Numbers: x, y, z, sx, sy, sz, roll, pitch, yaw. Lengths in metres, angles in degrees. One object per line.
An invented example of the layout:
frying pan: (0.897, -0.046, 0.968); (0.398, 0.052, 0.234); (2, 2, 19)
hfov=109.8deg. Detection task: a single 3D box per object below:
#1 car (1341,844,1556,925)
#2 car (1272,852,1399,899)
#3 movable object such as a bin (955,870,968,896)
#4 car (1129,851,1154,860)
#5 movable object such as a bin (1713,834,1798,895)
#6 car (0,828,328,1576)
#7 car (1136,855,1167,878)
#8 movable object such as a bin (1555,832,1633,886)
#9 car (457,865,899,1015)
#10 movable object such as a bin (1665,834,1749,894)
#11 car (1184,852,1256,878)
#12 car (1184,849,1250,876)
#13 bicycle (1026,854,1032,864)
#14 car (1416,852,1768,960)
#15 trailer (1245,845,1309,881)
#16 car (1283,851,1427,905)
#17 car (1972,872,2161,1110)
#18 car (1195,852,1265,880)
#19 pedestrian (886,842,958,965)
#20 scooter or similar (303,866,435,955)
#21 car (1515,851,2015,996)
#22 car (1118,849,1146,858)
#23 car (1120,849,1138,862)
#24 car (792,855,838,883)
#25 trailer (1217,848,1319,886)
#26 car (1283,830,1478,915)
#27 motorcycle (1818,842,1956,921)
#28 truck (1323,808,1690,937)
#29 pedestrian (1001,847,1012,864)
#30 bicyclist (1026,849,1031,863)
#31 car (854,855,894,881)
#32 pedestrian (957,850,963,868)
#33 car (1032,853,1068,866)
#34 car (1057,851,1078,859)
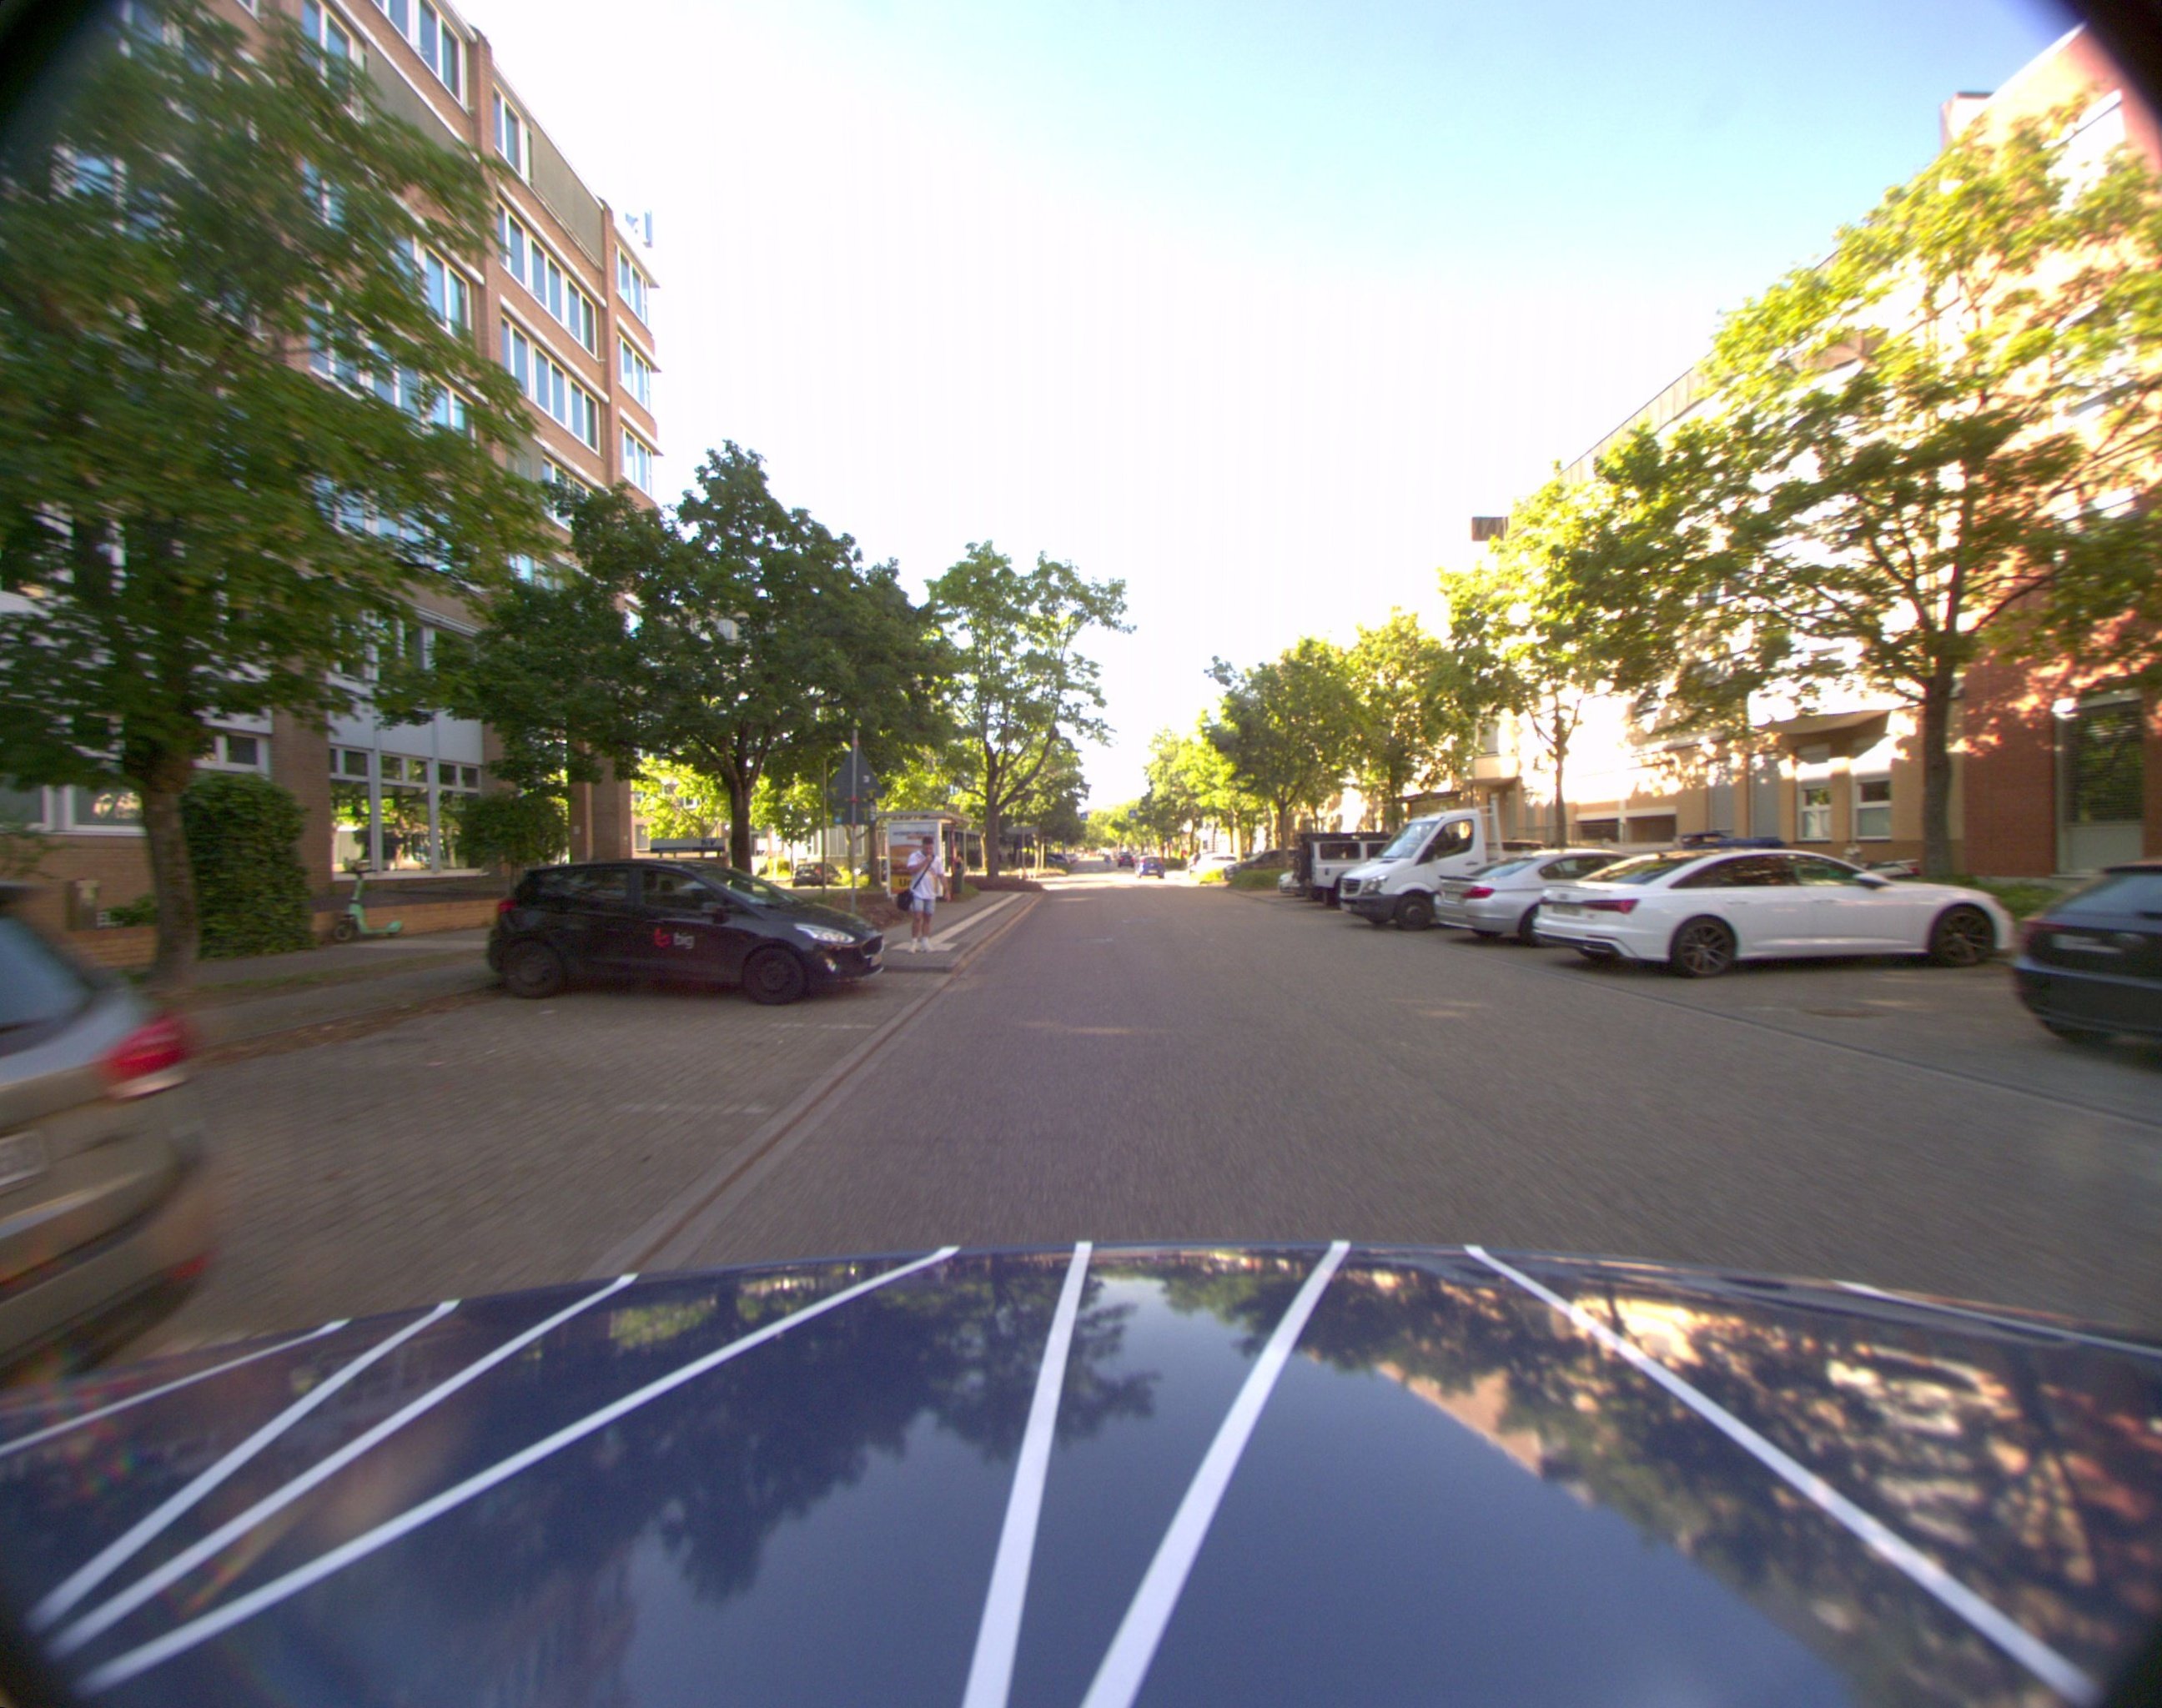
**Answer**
car: (8.625, 0.682, 18.113); (4.118, 1.652, 2.000); (-2, 1, -1)
car: (8.778, 0.718, 26.470); (3.843, 1.452, 1.733); (-2, 0, 4)
movable object such as a bin: (-3.637, 0.882, 23.118); (0.299, 0.749, 0.467); (1, 1, 1)
car: (10.024, 0.209, 125.626); (4.003, 1.411, 1.618); (-2, 1, 0)
movable object such as a bin: (17.930, 0.273, 20.218); (1.149, 1.553, 1.243); (-1, 0, -12)
car: (-4.454, 0.756, 1.196); (4.365, 1.588, 1.938); (0, 0, -6)
car: (4.479, 0.772, 48.819); (1.648, 1.412, 4.000); (-1, 0, 0)
movable object such as a bin: (17.698, 0.166, 26.281); (1.603, 1.786, 1.664); (-1, 0, 2)
car: (-4.208, 0.865, 8.436); (3.944, 1.431, 1.774); (0, 0, 0)
movable object such as a bin: (17.682, 0.269, 21.510); (1.149, 1.610, 1.440); (-1, 0, -12)
car: (8.778, 0.695, 48.189); (4.162, 1.394, 1.801); (-3, 0, 0)
car: (9.029, 0.554, 50.728); (3.997, 1.561, 1.728); (-3, 0, 0)
bicycle: (-6.243, 0.593, 90.572); (0.535, 1.072, 1.920); (-1, 0, 2)
car: (8.195, 0.785, 12.506); (4.438, 1.478, 2.000); (-2, 0, -1)
trailer: (9.802, 0.432, 38.213); (2.732, 1.677, 1.712); (-2, 0, 1)
car: (8.402, 0.715, 23.546); (3.787, 1.484, 1.833); (-2, 0, 2)
car: (8.658, 0.844, 4.807); (3.997, 1.426, 1.722); (-1, 0, 0)
car: (8.847, 0.674, 45.212); (3.764, 1.444, 1.754); (-3, 0, 0)
pedestrian: (-2.311, 0.705, 11.029); (0.921, 1.701, 0.697); (2, 0, -13)
scooter or similar: (-11.788, 0.889, 12.667); (0.550, 1.318, 1.805); (-3, 1, -4)
car: (8.264, 0.796, 9.508); (4.553, 1.433, 1.890); (-2, 0, -1)
car: (9.945, -0.098, 148.214); (5.317, 1.875, 2.000); (0, 1, 2)
car: (5.457, 0.176, 87.108); (1.784, 1.503, 4.000); (-1, 0, 1)
car: (-14.517, 0.815, 41.590); (1.657, 1.454, 3.914); (-1, 0, -9)
trailer: (8.774, 0.600, 35.833); (4.272, 1.563, 1.855); (-2, 0, -3)
car: (8.078, 0.474, 20.797); (4.493, 2.040, 1.999); (-2, 1, -1)
motorcycle: (17.333, 0.558, 16.428); (0.716, 1.582, 2.109); (-1, 0, -1)
truck: (8.395, 0.355, 15.485); (6.247, 2.408, 2.187); (0, 0, 1)
pedestrian: (-8.296, 0.188, 84.533); (1.037, 1.788, 1.018); (-2, 1, 0)
bicyclist: (-6.252, 0.228, 90.545); (0.538, 1.627, 0.822); (-1, 1, 1)
car: (-14.592, 0.973, 53.833); (1.742, 1.557, 4.363); (-2, 2, -2)
pedestrian: (-10.731, 0.449, 67.431); (0.539, 1.573, 0.648); (-1, 1, -9)
car: (-3.571, 0.661, 87.457); (4.127, 1.362, 1.654); (1, 1, -3)
car: (-2.686, 0.146, 150.245); (3.998, 1.471, 1.804); (0, 1, -2)
